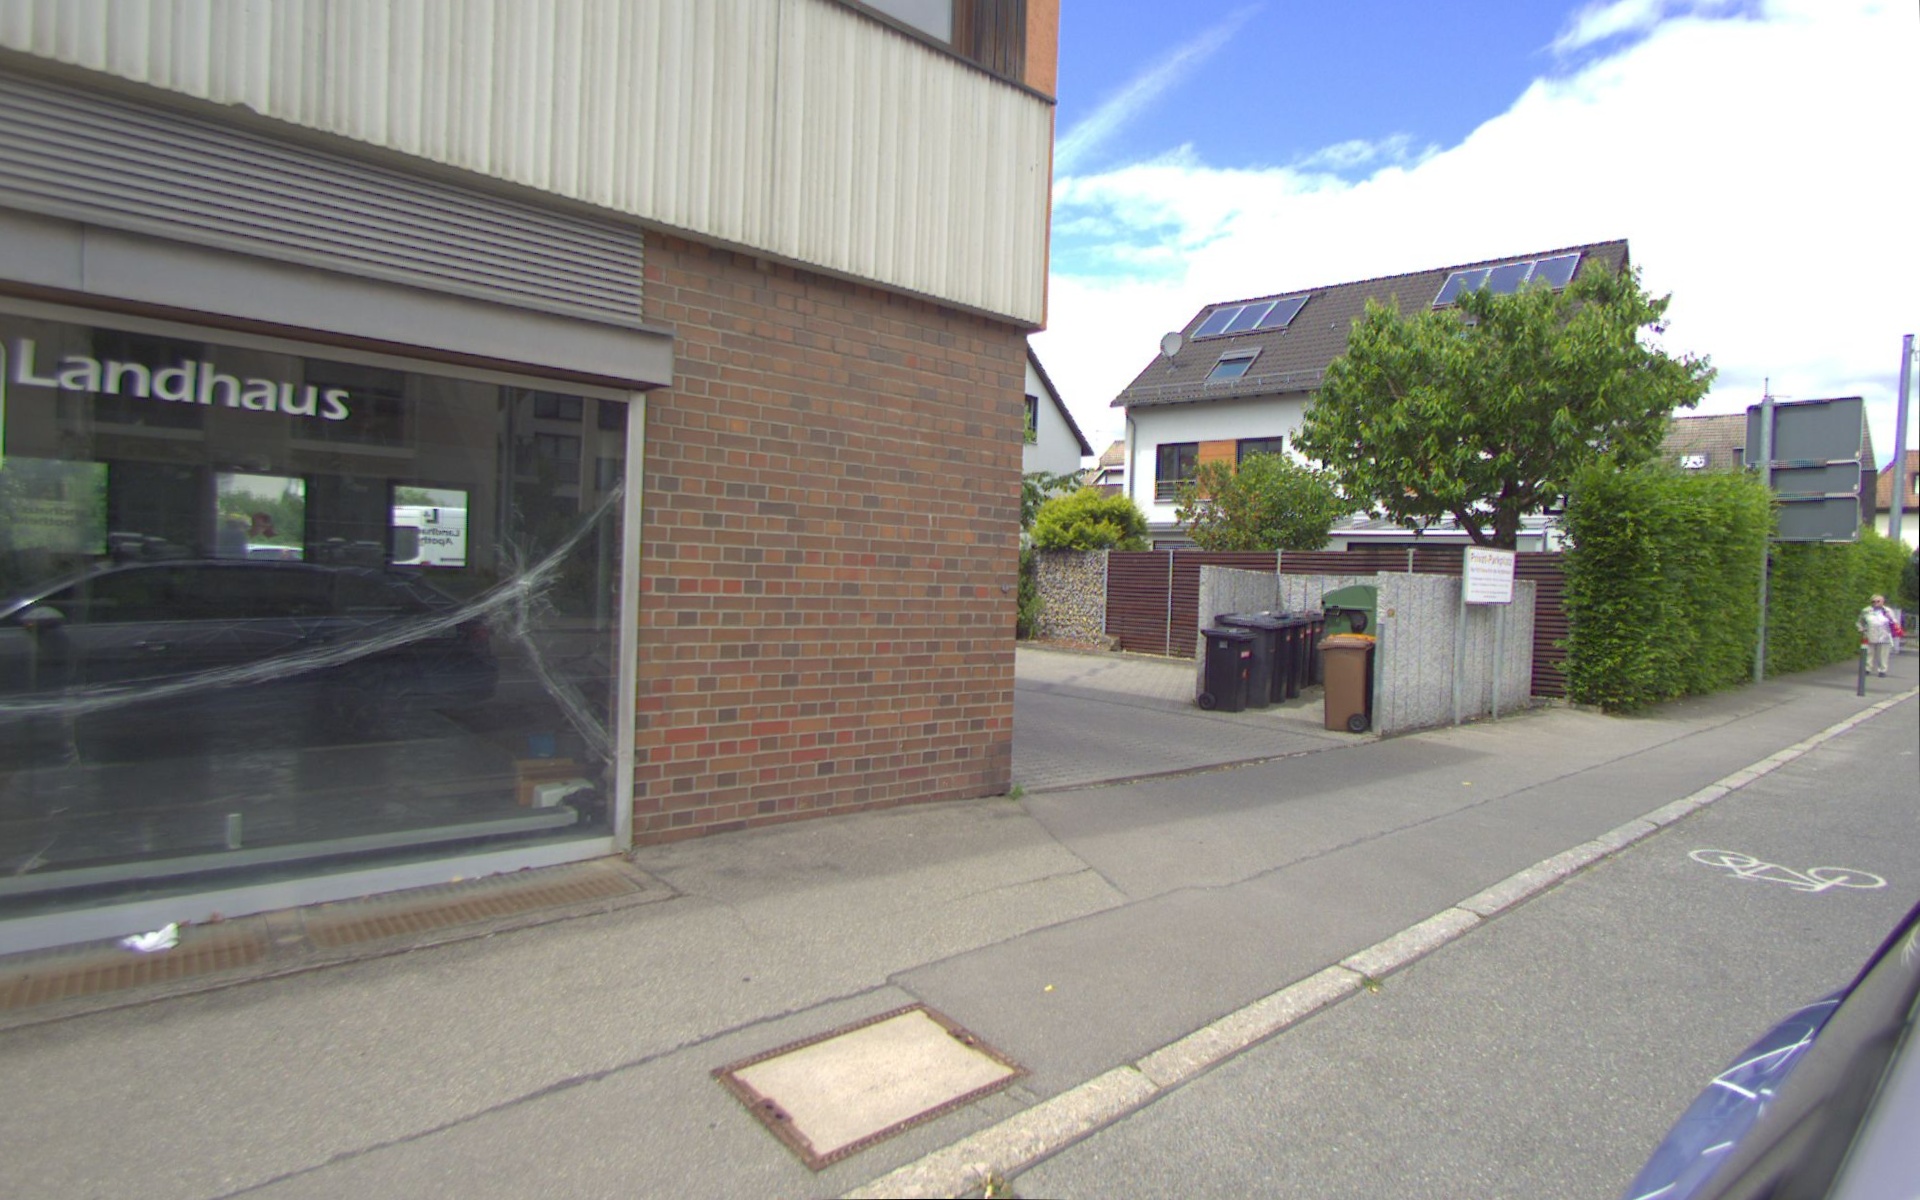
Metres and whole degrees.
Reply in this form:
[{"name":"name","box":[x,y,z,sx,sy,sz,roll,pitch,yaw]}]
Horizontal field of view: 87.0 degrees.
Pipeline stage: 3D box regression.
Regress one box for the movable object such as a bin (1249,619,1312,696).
[{"name":"movable object such as a bin","box":[4.037,0.707,12.728,0.630,0.903,0.534,1,1,33]}]

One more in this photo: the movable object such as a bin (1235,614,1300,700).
[{"name":"movable object such as a bin","box":[3.735,0.674,12.274,0.624,0.979,0.534,1,1,33]}]

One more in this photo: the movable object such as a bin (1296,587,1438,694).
[{"name":"movable object such as a bin","box":[5.312,0.483,13.191,1.509,1.278,1.190,0,1,-43]}]

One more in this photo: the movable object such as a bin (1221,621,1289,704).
[{"name":"movable object such as a bin","box":[3.442,0.716,11.811,0.630,0.903,0.534,1,1,33]}]

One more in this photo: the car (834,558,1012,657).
[{"name":"car","box":[-0.544,0.074,18.346,1.768,1.555,3.767,2,2,23]}]

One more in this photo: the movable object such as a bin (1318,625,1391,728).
[{"name":"movable object such as a bin","box":[4.011,0.758,10.277,0.530,0.963,0.678,1,1,36]}]

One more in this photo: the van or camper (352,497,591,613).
[{"name":"van or camper","box":[-12.043,-1.073,25.472,2.034,2.574,5.474,2,1,21]}]

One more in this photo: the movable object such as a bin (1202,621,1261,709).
[{"name":"movable object such as a bin","box":[3.064,0.719,11.398,0.490,0.924,0.534,1,1,33]}]

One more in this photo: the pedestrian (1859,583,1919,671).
[{"name":"pedestrian","box":[18.159,0.507,19.719,0.641,1.637,0.801,1,3,-39]}]

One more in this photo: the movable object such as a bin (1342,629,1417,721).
[{"name":"movable object such as a bin","box":[4.499,0.783,10.855,0.532,0.903,0.668,2,1,43]}]
